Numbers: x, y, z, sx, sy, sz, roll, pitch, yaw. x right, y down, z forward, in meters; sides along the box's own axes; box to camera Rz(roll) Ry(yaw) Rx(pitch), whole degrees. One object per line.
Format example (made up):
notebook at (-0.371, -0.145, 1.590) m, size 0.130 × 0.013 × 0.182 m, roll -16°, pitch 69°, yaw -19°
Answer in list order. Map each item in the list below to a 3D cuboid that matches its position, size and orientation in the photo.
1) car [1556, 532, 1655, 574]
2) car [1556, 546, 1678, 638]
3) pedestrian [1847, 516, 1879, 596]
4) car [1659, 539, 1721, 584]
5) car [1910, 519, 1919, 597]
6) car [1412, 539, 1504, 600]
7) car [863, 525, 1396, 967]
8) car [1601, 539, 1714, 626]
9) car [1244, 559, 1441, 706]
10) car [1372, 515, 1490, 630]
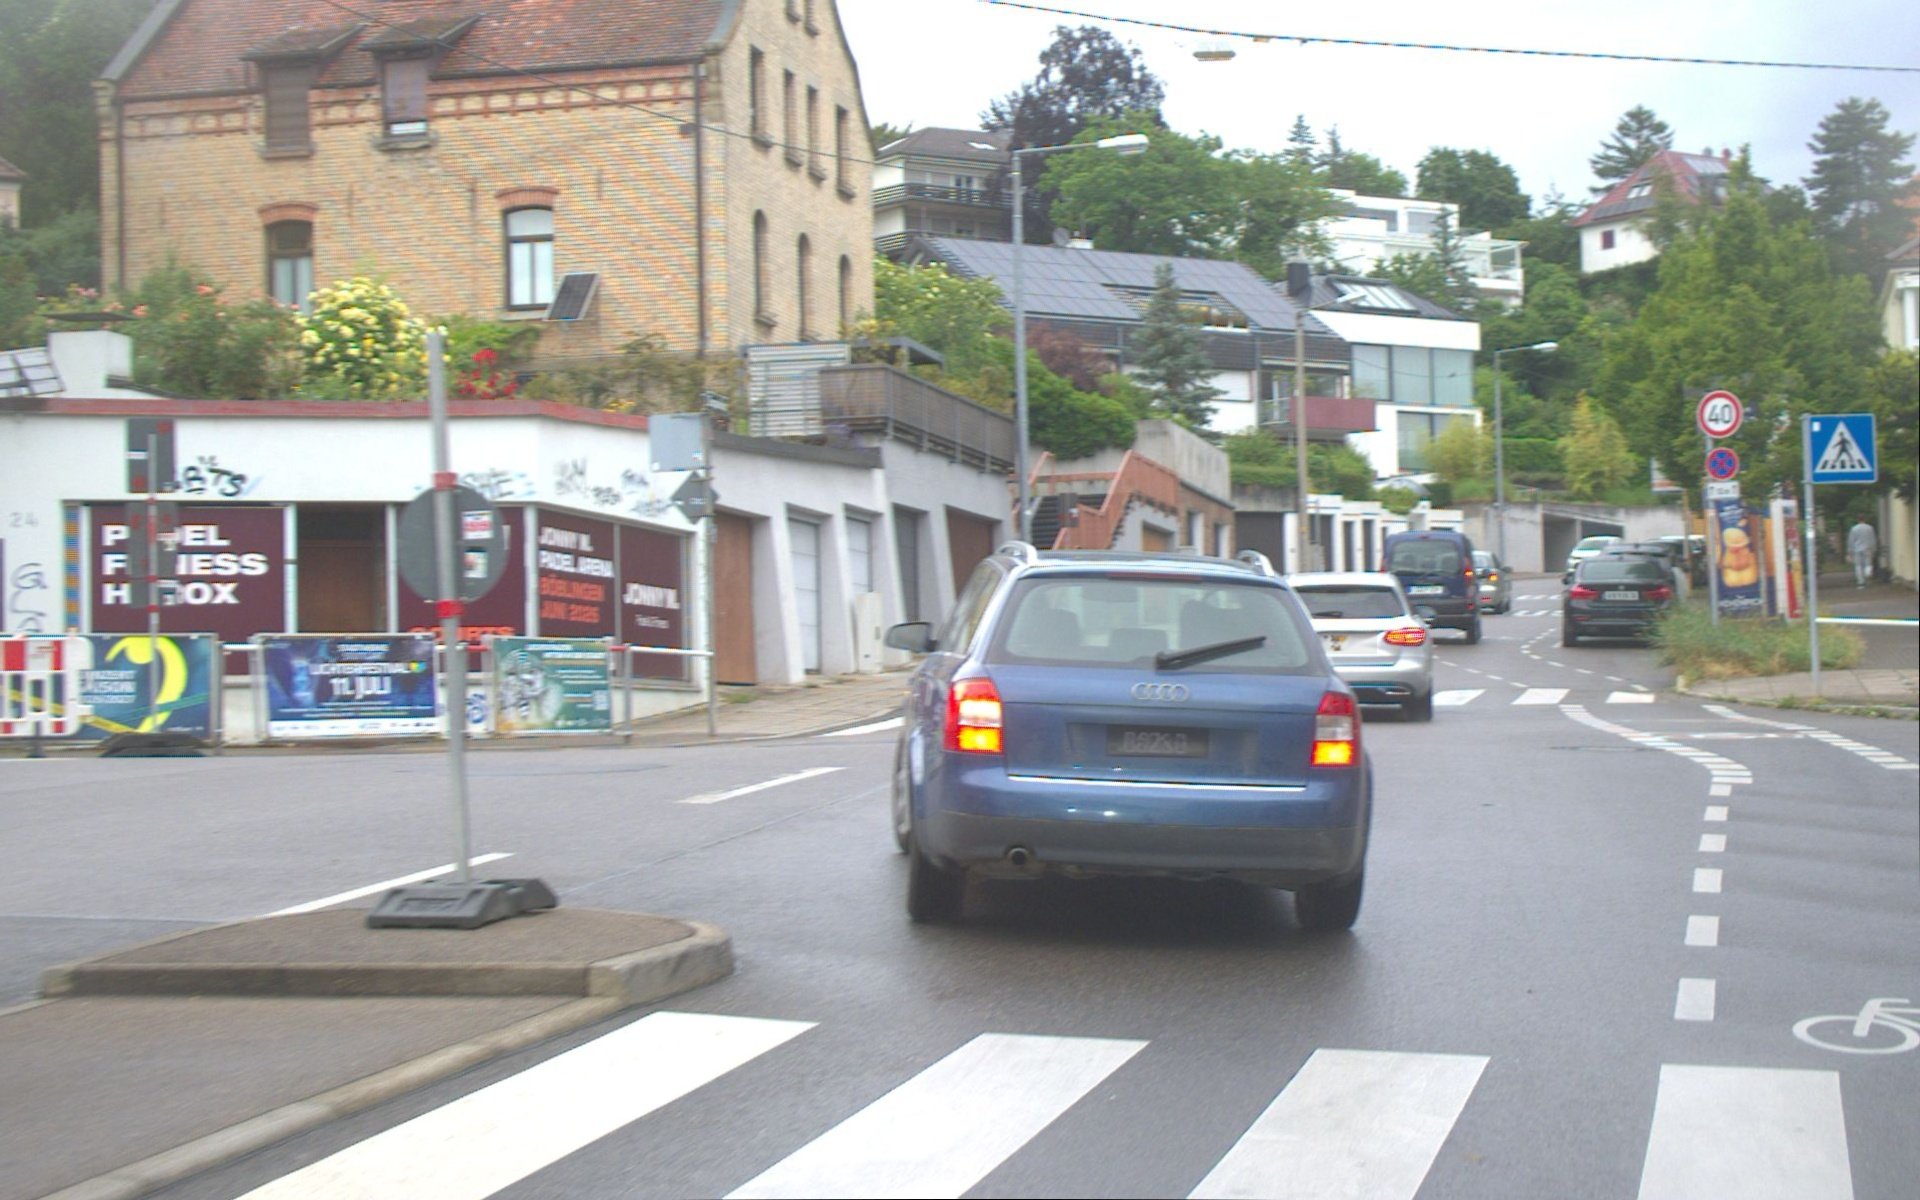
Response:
car at (24.779, -1.807, 132.019) m, size 3.537 × 1.601 × 1.733 m, roll -1°, pitch 1°, yaw -34°
car at (10.462, -0.156, 54.972) m, size 1.772 × 1.373 × 4.347 m, roll -1°, pitch 1°, yaw 9°
pedestrian at (20.555, -1.003, 78.282) m, size 0.639 × 1.789 × 0.744 m, roll -1°, pitch 1°, yaw 10°
car at (21.212, -1.121, 99.815) m, size 1.470 × 1.250 × 3.579 m, roll -1°, pitch 1°, yaw 17°
car at (19.436, -0.778, 62.338) m, size 3.993 × 1.410 × 1.722 m, roll 0°, pitch 1°, yaw 27°
car at (11.070, -0.687, 76.300) m, size 1.825 × 1.292 × 3.998 m, roll -1°, pitch 1°, yaw 11°
car at (0.611, 0.470, 14.122) m, size 1.811 × 1.434 × 4.082 m, roll 2°, pitch 2°, yaw 0°
car at (12.206, -0.328, 60.318) m, size 1.716 × 1.445 × 3.832 m, roll -1°, pitch 1°, yaw 8°
car at (3.841, 0.324, 34.181) m, size 1.812 × 1.356 × 3.999 m, roll 1°, pitch -1°, yaw 7°
car at (7.782, -0.474, 56.662) m, size 1.824 × 1.813 × 3.999 m, roll -1°, pitch 1°, yaw 8°
